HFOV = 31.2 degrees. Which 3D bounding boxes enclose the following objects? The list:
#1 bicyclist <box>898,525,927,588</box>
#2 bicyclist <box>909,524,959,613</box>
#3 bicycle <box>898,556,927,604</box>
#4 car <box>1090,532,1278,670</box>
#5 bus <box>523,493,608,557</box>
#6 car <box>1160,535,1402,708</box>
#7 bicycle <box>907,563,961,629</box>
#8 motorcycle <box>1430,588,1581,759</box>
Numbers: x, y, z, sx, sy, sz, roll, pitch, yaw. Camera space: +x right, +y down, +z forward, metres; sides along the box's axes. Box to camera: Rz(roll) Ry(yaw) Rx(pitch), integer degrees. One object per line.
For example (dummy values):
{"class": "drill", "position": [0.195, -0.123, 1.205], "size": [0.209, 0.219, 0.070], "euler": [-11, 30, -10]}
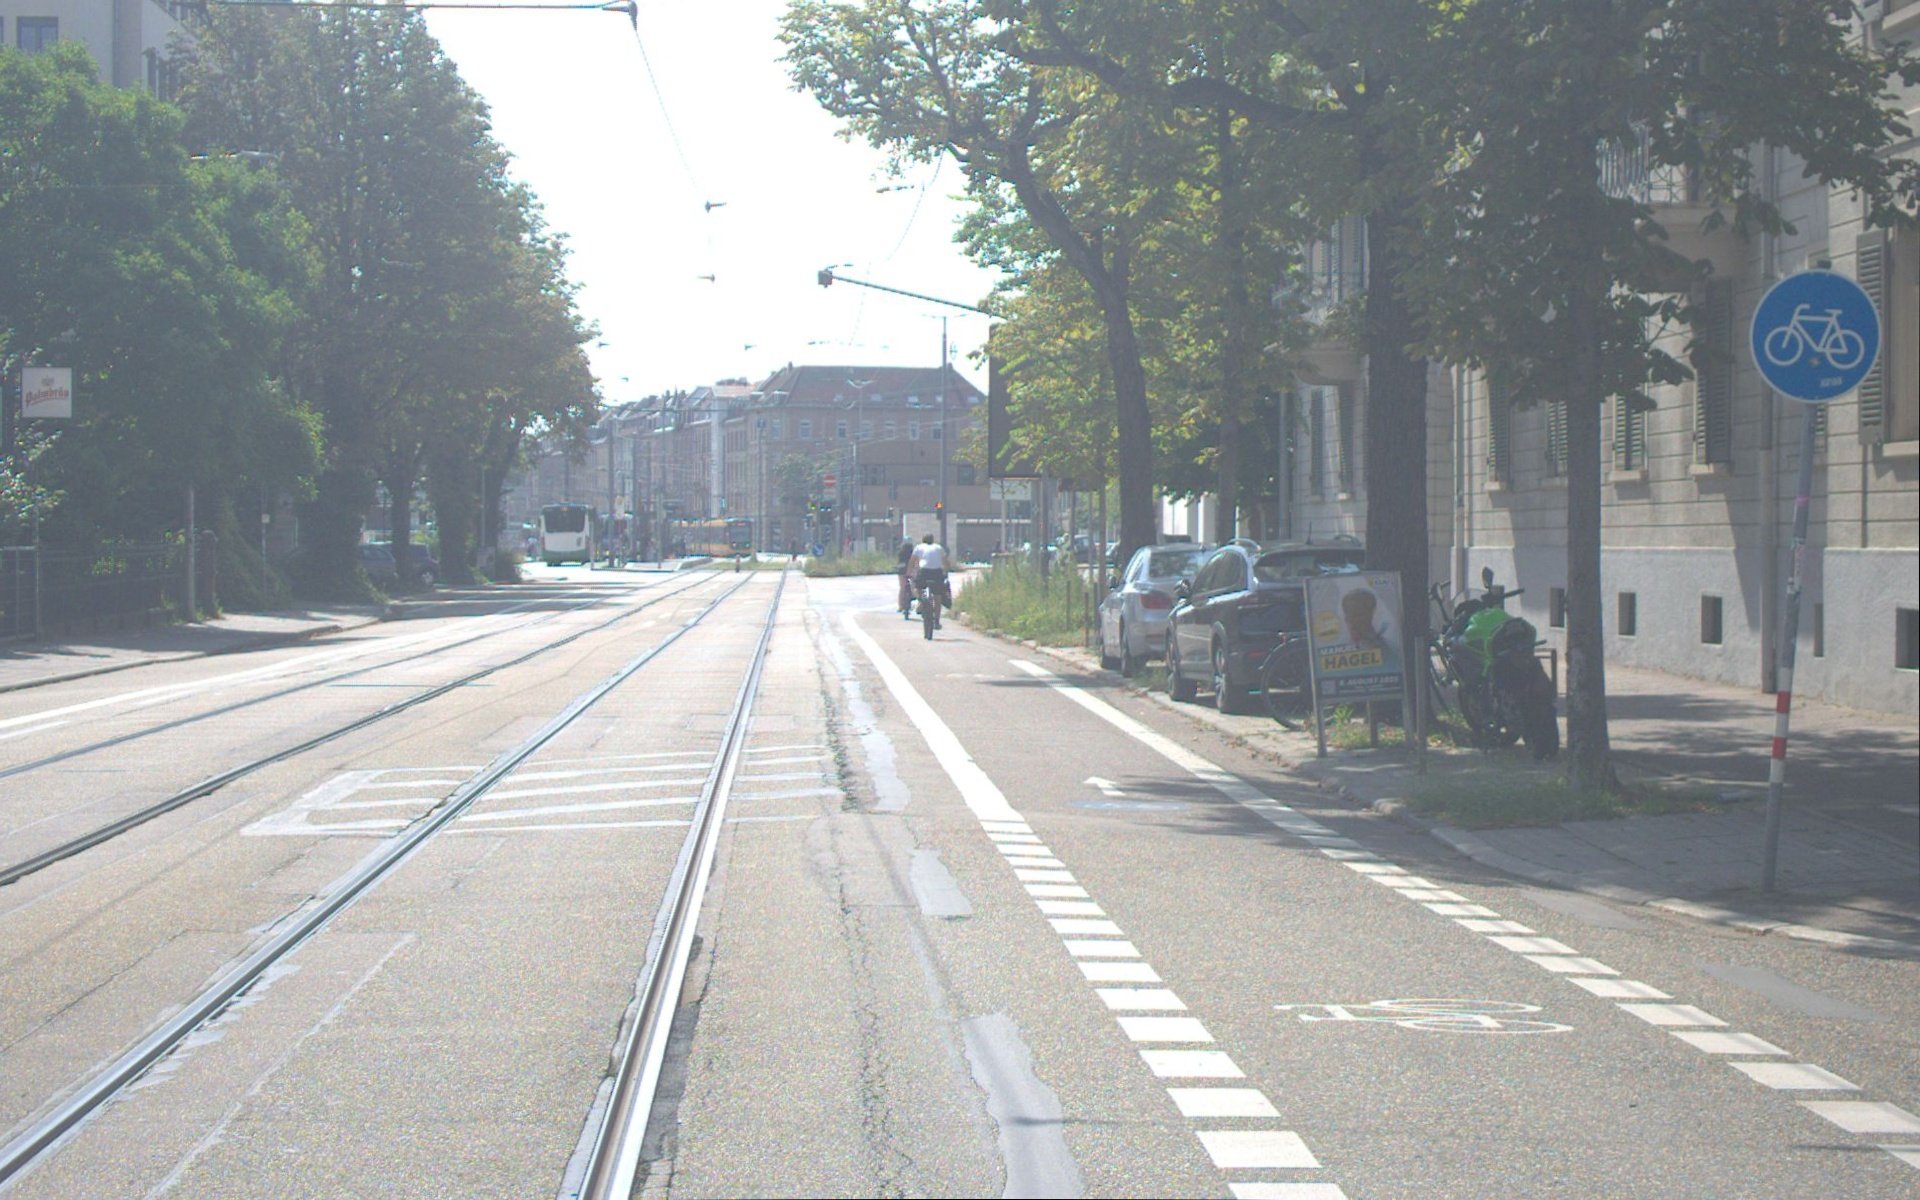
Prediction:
{"class": "bicyclist", "position": [-0.973, -0.893, 70.669], "size": [0.579, 1.274, 0.471], "euler": [0, 1, 0]}
{"class": "bicyclist", "position": [-0.417, -0.500, 54.354], "size": [0.758, 1.387, 0.779], "euler": [0, 1, -3]}
{"class": "bicycle", "position": [-0.975, -0.423, 70.685], "size": [0.588, 0.936, 2.172], "euler": [0, 1, 0]}
{"class": "car", "position": [2.436, -0.008, 38.153], "size": [1.583, 1.459, 3.468], "euler": [0, 1, -5]}
{"class": "bus", "position": [-21.505, -4.103, 188.304], "size": [3.734, 3.352, 15.122], "euler": [0, 1, -3]}
{"class": "car", "position": [2.817, 0.162, 30.833], "size": [1.583, 1.459, 3.416], "euler": [0, 1, -5]}
{"class": "bicycle", "position": [-0.419, -0.077, 54.350], "size": [0.758, 0.987, 2.298], "euler": [0, 1, -3]}
{"class": "motorcycle", "position": [3.697, 0.475, 23.455], "size": [0.549, 1.064, 2.331], "euler": [0, 1, -3]}
